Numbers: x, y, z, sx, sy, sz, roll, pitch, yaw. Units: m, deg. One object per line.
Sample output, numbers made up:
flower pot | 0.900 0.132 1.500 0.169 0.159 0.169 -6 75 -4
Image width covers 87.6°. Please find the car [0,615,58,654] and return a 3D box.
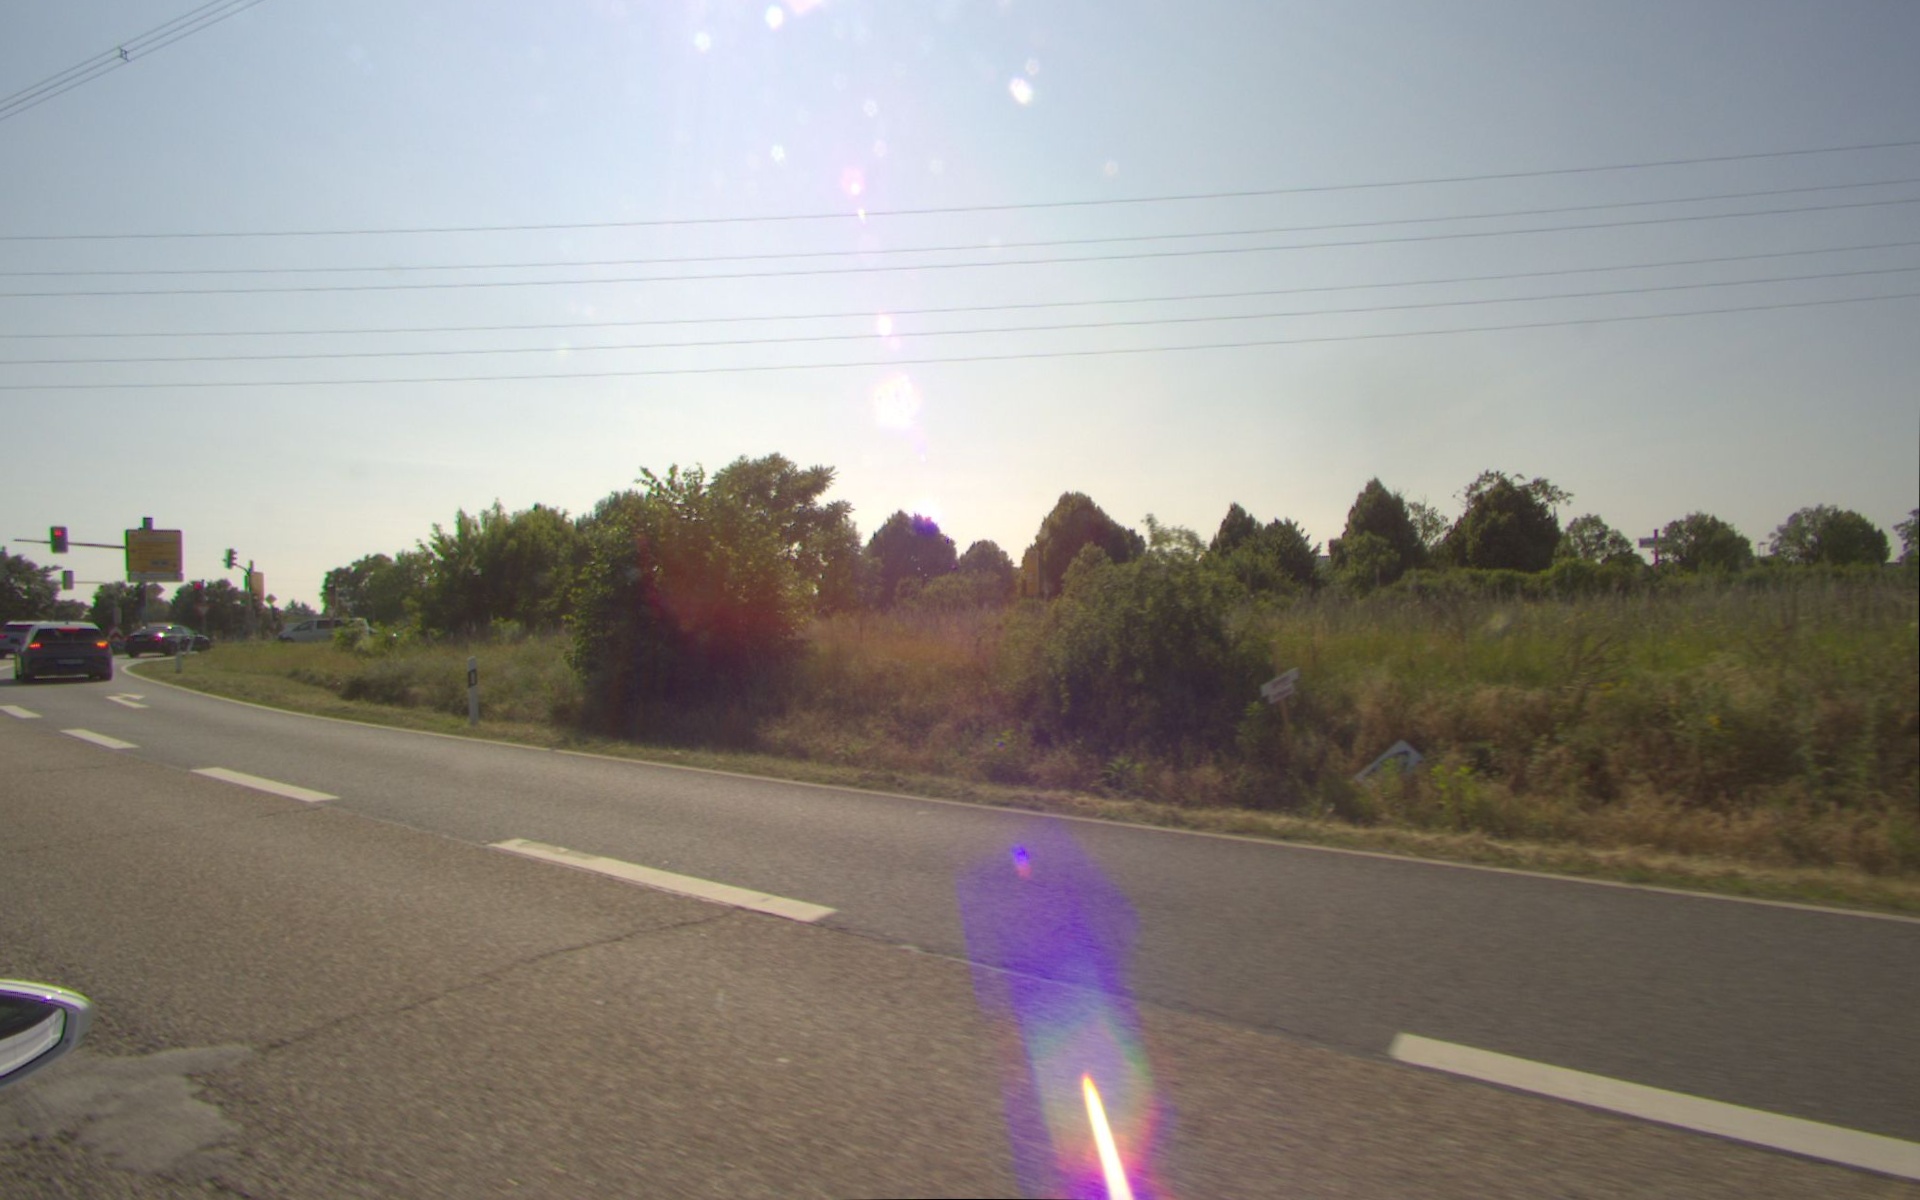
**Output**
car | -42.389 1.561 45.623 1.619 1.698 3.721 1 -2 -38

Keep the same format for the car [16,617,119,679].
car | -23.999 1.231 26.886 4.056 1.537 1.763 -1 -2 44

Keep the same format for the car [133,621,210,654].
car | -37.035 1.739 47.135 1.618 1.404 3.991 -1 0 -19

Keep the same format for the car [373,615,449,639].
car | -37.820 1.861 69.119 4.256 1.539 1.806 -1 -1 -14

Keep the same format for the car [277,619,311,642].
car | -62.685 2.909 94.316 1.905 2.164 4.625 1 -2 -24

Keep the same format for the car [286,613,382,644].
car | -40.766 1.843 65.319 4.857 1.943 1.998 0 -1 -14
